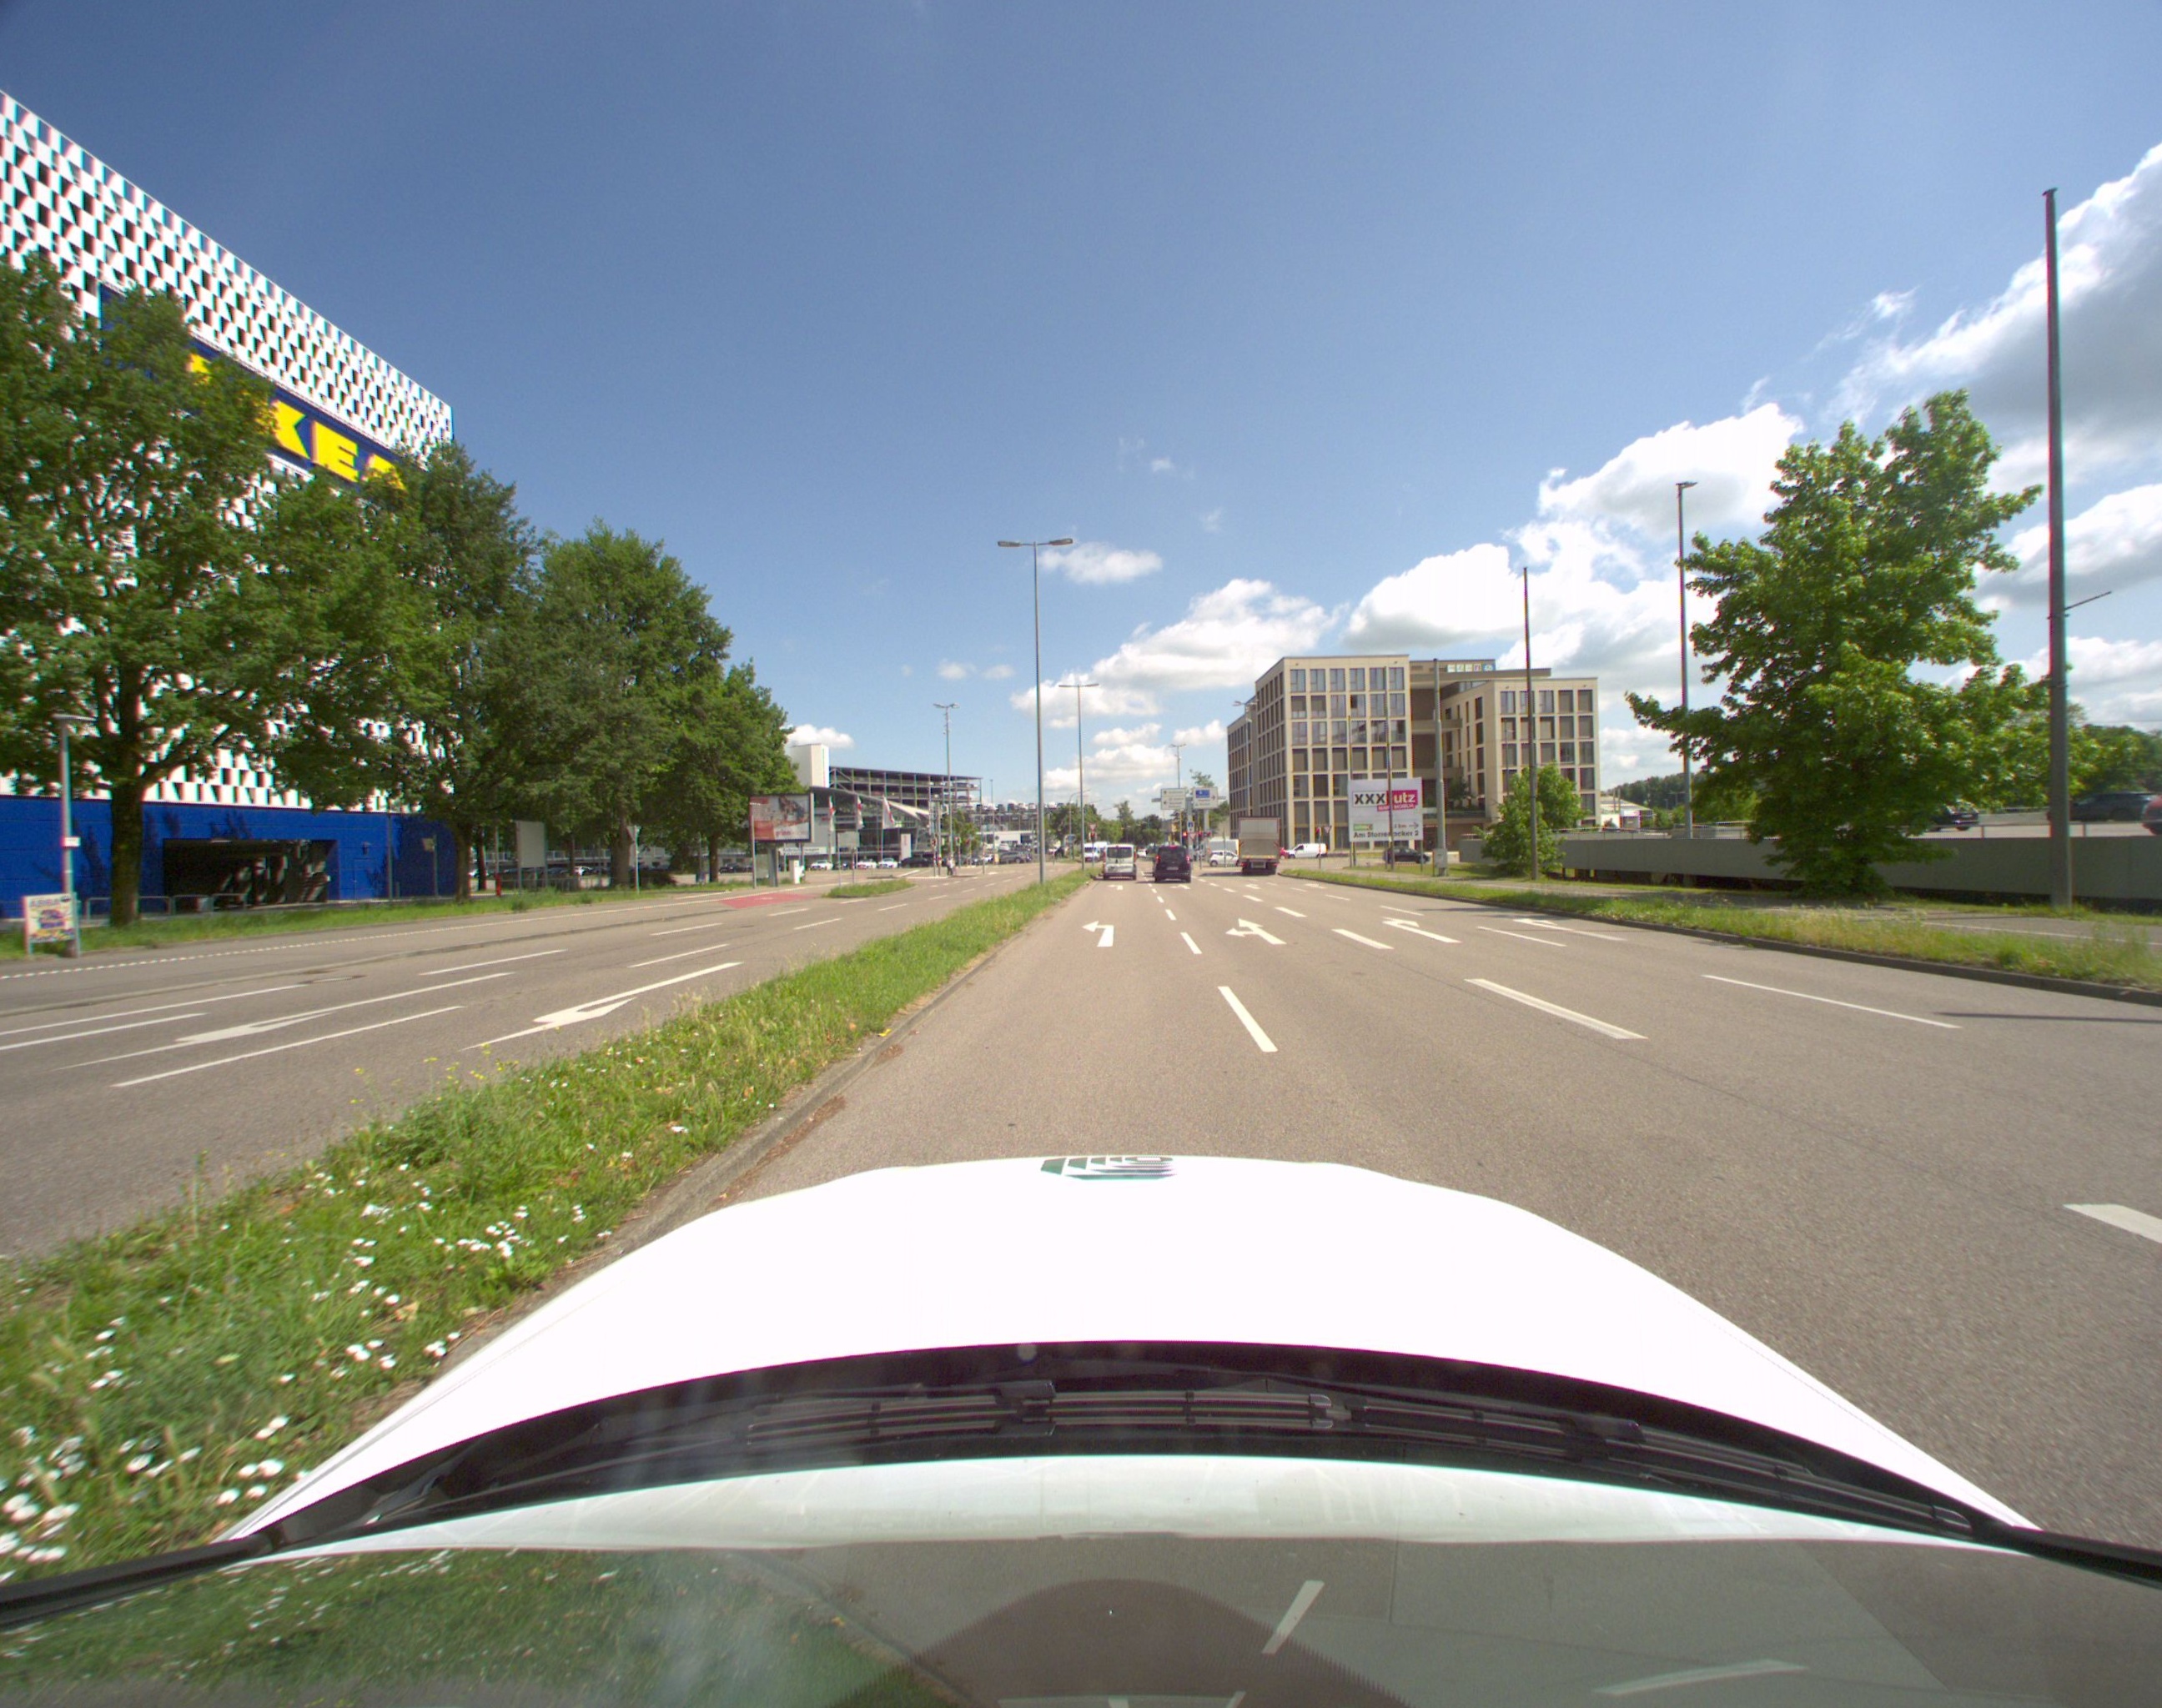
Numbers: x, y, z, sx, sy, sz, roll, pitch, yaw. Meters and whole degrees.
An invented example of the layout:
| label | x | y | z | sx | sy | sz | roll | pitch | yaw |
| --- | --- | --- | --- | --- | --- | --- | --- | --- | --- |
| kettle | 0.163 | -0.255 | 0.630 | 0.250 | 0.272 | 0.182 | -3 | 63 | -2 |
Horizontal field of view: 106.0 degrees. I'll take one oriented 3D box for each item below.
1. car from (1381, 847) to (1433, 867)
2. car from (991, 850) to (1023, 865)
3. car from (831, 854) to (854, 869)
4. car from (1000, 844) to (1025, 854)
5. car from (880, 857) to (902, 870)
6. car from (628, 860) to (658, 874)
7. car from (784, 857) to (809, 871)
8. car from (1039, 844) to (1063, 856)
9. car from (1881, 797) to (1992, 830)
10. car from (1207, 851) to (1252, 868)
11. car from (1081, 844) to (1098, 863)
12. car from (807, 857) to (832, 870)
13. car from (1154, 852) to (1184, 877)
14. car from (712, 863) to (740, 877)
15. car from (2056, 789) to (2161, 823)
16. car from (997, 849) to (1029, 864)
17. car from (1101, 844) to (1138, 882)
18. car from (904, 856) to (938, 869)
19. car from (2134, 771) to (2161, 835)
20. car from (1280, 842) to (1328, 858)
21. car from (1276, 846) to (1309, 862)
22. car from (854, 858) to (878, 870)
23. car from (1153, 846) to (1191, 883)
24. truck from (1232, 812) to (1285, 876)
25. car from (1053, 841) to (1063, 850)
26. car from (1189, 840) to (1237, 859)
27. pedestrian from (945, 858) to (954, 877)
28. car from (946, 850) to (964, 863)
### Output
| label | x | y | z | sx | sy | sz | roll | pitch | yaw |
| --- | --- | --- | --- | --- | --- | --- | --- | --- | --- |
| car | 29.033 | 0.264 | 72.651 | 4.115 | 1.503 | 1.633 | -3 | 1 | 14 |
| car | -9.435 | 0.470 | 104.567 | 3.850 | 1.639 | 1.857 | -3 | 1 | -1 |
| car | -29.031 | 0.899 | 99.158 | 1.751 | 1.660 | 3.615 | -1 | 1 | -1 |
| car | -11.378 | -0.810 | 135.623 | 4.155 | 1.712 | 1.687 | 0 | 1 | -3 |
| car | -23.167 | 1.141 | 99.568 | 1.770 | 1.450 | 4.029 | -1 | 1 | -1 |
| car | -53.337 | 1.538 | 99.213 | 1.722 | 1.486 | 3.700 | -1 | 1 | -1 |
| car | -34.549 | 1.201 | 99.137 | 1.722 | 1.486 | 3.700 | -1 | 1 | -1 |
| car | -5.086 | -0.705 | 136.171 | 3.978 | 1.925 | 1.824 | -1 | 0 | -4 |
| car | 45.757 | -2.130 | 43.677 | 1.864 | 1.521 | 3.865 | -1 | 0 | -2 |
| car | 13.565 | 0.509 | 74.694 | 3.835 | 1.466 | 1.697 | -1 | 1 | 2 |
| car | 1.154 | -0.088 | 107.074 | 1.964 | 2.256 | 4.983 | -3 | 1 | 2 |
| car | -31.786 | 1.130 | 99.171 | 1.873 | 1.486 | 3.700 | -1 | 1 | -1 |
| car | 5.526 | 0.631 | 51.578 | 1.732 | 1.495 | 4.004 | -1 | 0 | 4 |
| car | -42.444 | 1.880 | 97.476 | 1.832 | 1.487 | 3.699 | -1 | 1 | -2 |
| car | 55.239 | -2.539 | 43.471 | 1.738 | 1.600 | 3.865 | -1 | 1 | -2 |
| car | -8.967 | 0.349 | 107.506 | 3.901 | 1.712 | 1.688 | -3 | 1 | -1 |
| car | 2.227 | 0.459 | 45.872 | 1.847 | 2.018 | 4.006 | -1 | 0 | 5 |
| car | -19.505 | 1.019 | 99.276 | 3.782 | 1.513 | 1.678 | -1 | 1 | -2 |
| car | 39.702 | -1.798 | 27.721 | 5.143 | 2.195 | 1.987 | -1 | 0 | 0 |
| car | 25.809 | -0.472 | 94.244 | 4.966 | 1.607 | 2.000 | -1 | 1 | 0 |
| car | 23.083 | -0.014 | 88.931 | 3.261 | 1.405 | 1.335 | -1 | 9 | 0 |
| car | -26.269 | 1.187 | 99.422 | 1.901 | 1.376 | 3.751 | -1 | 1 | -1 |
| car | 4.655 | 0.493 | 41.555 | 1.810 | 1.808 | 4.007 | -1 | 0 | 6 |
| truck | 12.092 | -0.704 | 54.794 | 3.107 | 3.940 | 8.893 | -1 | 1 | 14 |
| car | -4.463 | -1.647 | 157.122 | 1.841 | 1.530 | 3.998 | -1 | 1 | -1 |
| car | 16.314 | -0.541 | 100.736 | 5.443 | 2.255 | 2.013 | -1 | 1 | 35 |
| pedestrian | -10.584 | 1.072 | 65.524 | 0.464 | 1.512 | 0.515 | -1 | 0 | 28 |
| car | -15.476 | 0.325 | 99.573 | 1.820 | 1.552 | 3.981 | -1 | 0 | -14 |
